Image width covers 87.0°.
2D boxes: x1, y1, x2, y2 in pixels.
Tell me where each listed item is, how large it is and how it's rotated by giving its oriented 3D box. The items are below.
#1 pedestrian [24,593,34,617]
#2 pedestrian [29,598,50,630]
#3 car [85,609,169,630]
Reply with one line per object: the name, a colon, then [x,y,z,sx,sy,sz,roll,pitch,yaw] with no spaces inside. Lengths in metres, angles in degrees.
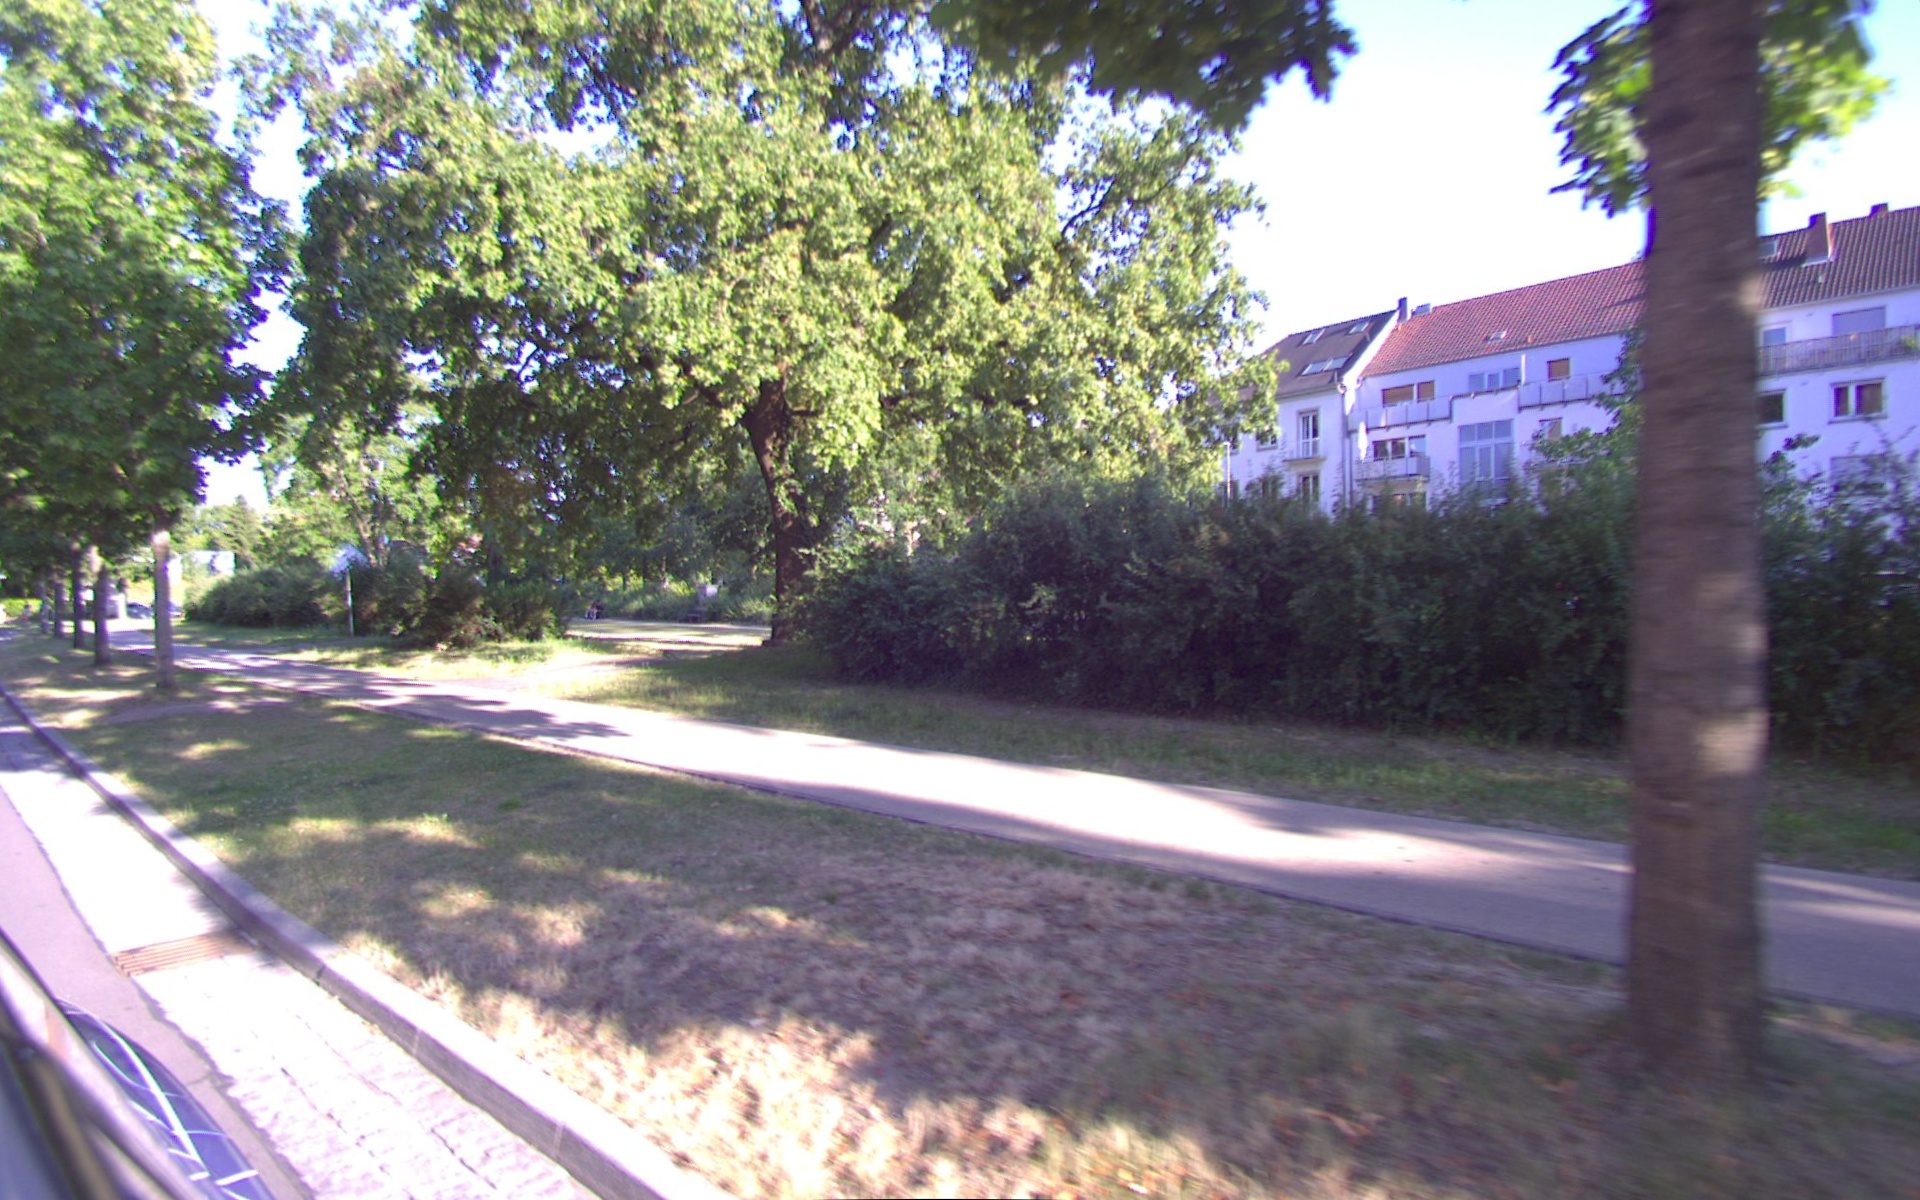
pedestrian: [-70.800,0.368,76.968,0.665,1.788,0.430,-2,-1,35]
pedestrian: [-50.605,0.776,55.648,0.999,1.732,0.529,-1,1,30]
car: [-65.274,1.501,79.413,1.861,1.570,4.788,-2,-1,30]
